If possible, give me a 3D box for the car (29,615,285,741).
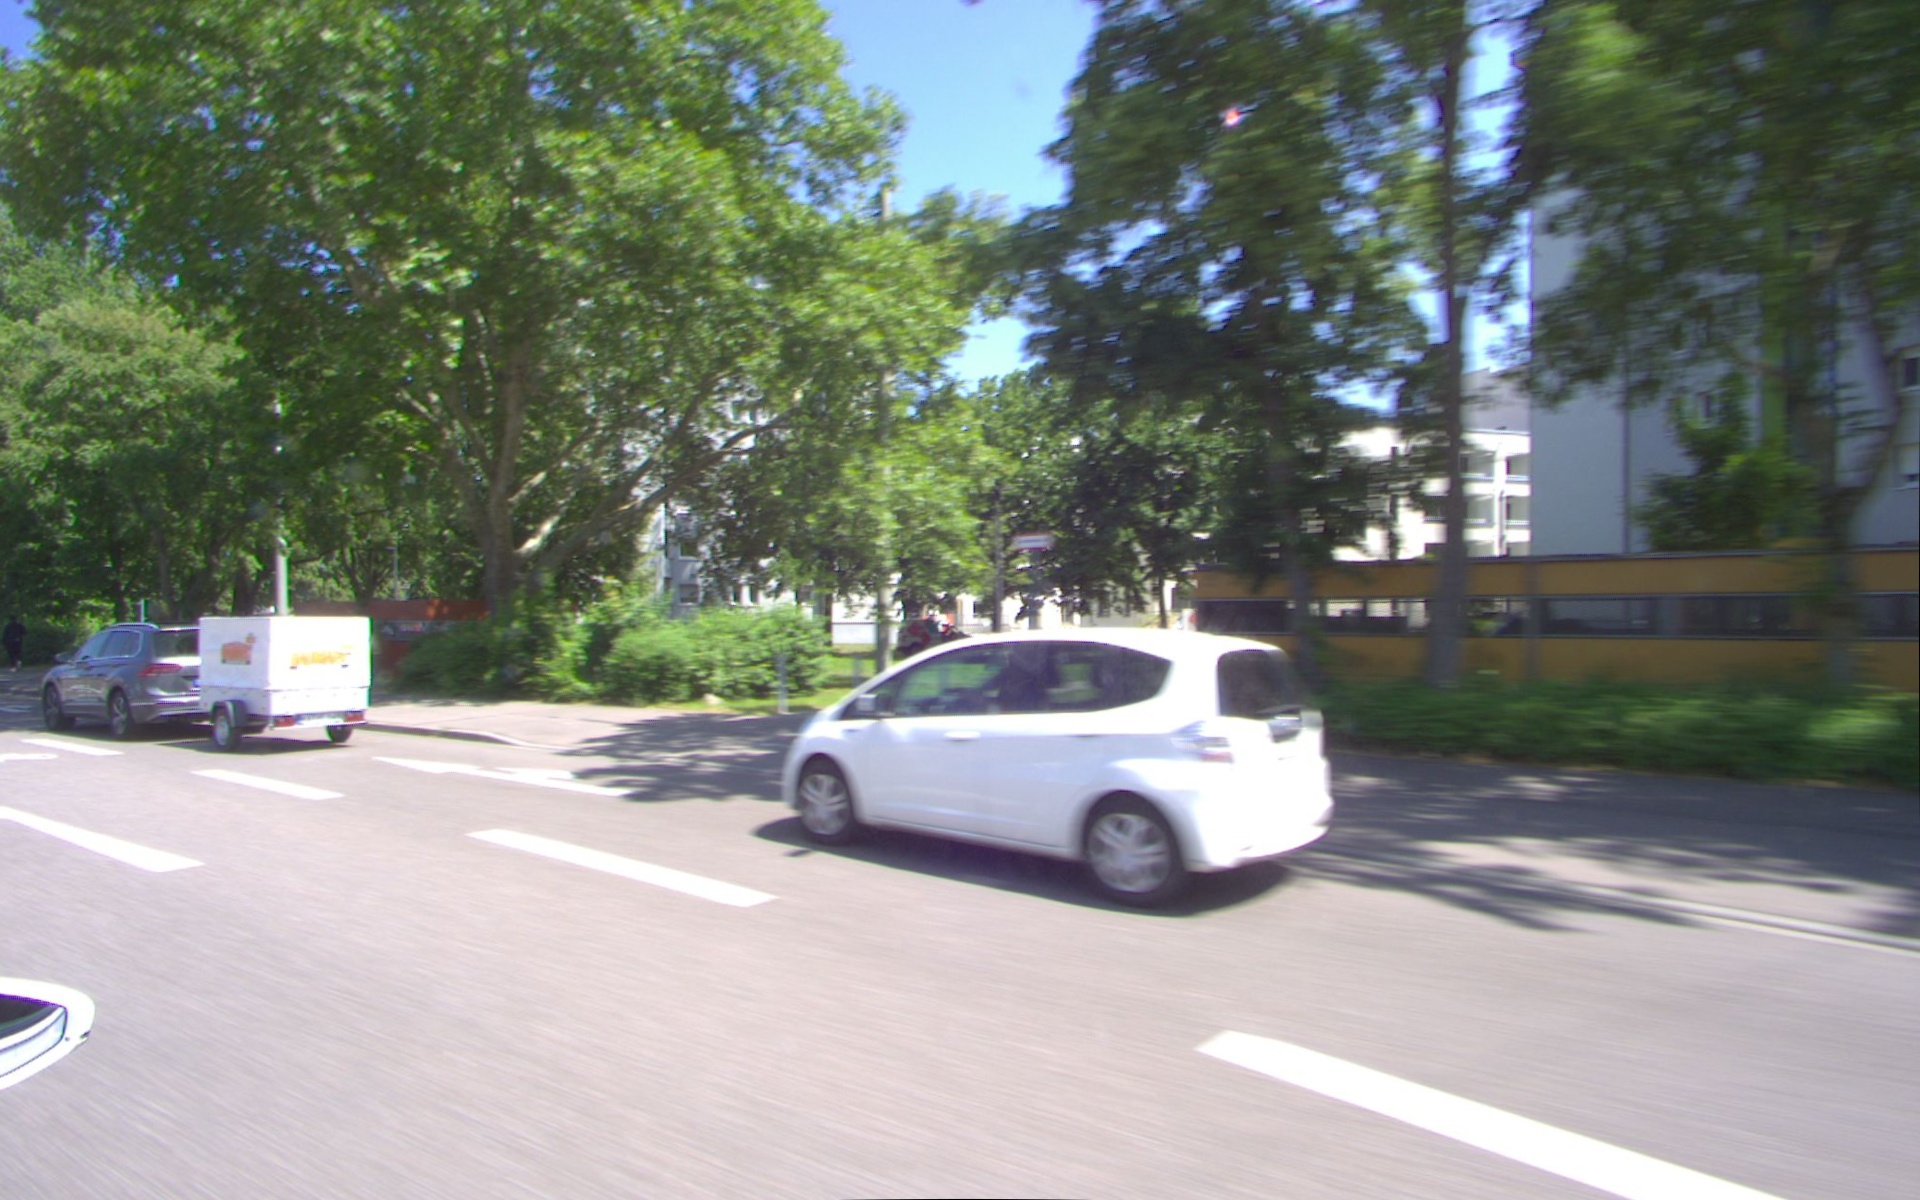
[{"bbox_3d":[-12.299,1.105,15.264,4.335,1.675,1.697,-1,-2,32],"label":"car"}]

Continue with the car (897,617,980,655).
[{"bbox_3d":[-1.041,1.747,47.964,3.680,1.722,1.740,1,-2,-13],"label":"car"}]

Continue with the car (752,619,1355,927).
[{"bbox_3d":[0.464,0.919,6.841,3.833,1.507,1.713,-1,-3,41],"label":"car"}]

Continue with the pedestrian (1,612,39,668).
[{"bbox_3d":[-31.357,1.334,33.404,0.683,1.840,0.751,0,1,32],"label":"pedestrian"}]

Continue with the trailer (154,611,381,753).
[{"bbox_3d":[-9.248,1.027,13.349,2.815,1.690,1.467,-1,-2,32],"label":"trailer"}]
